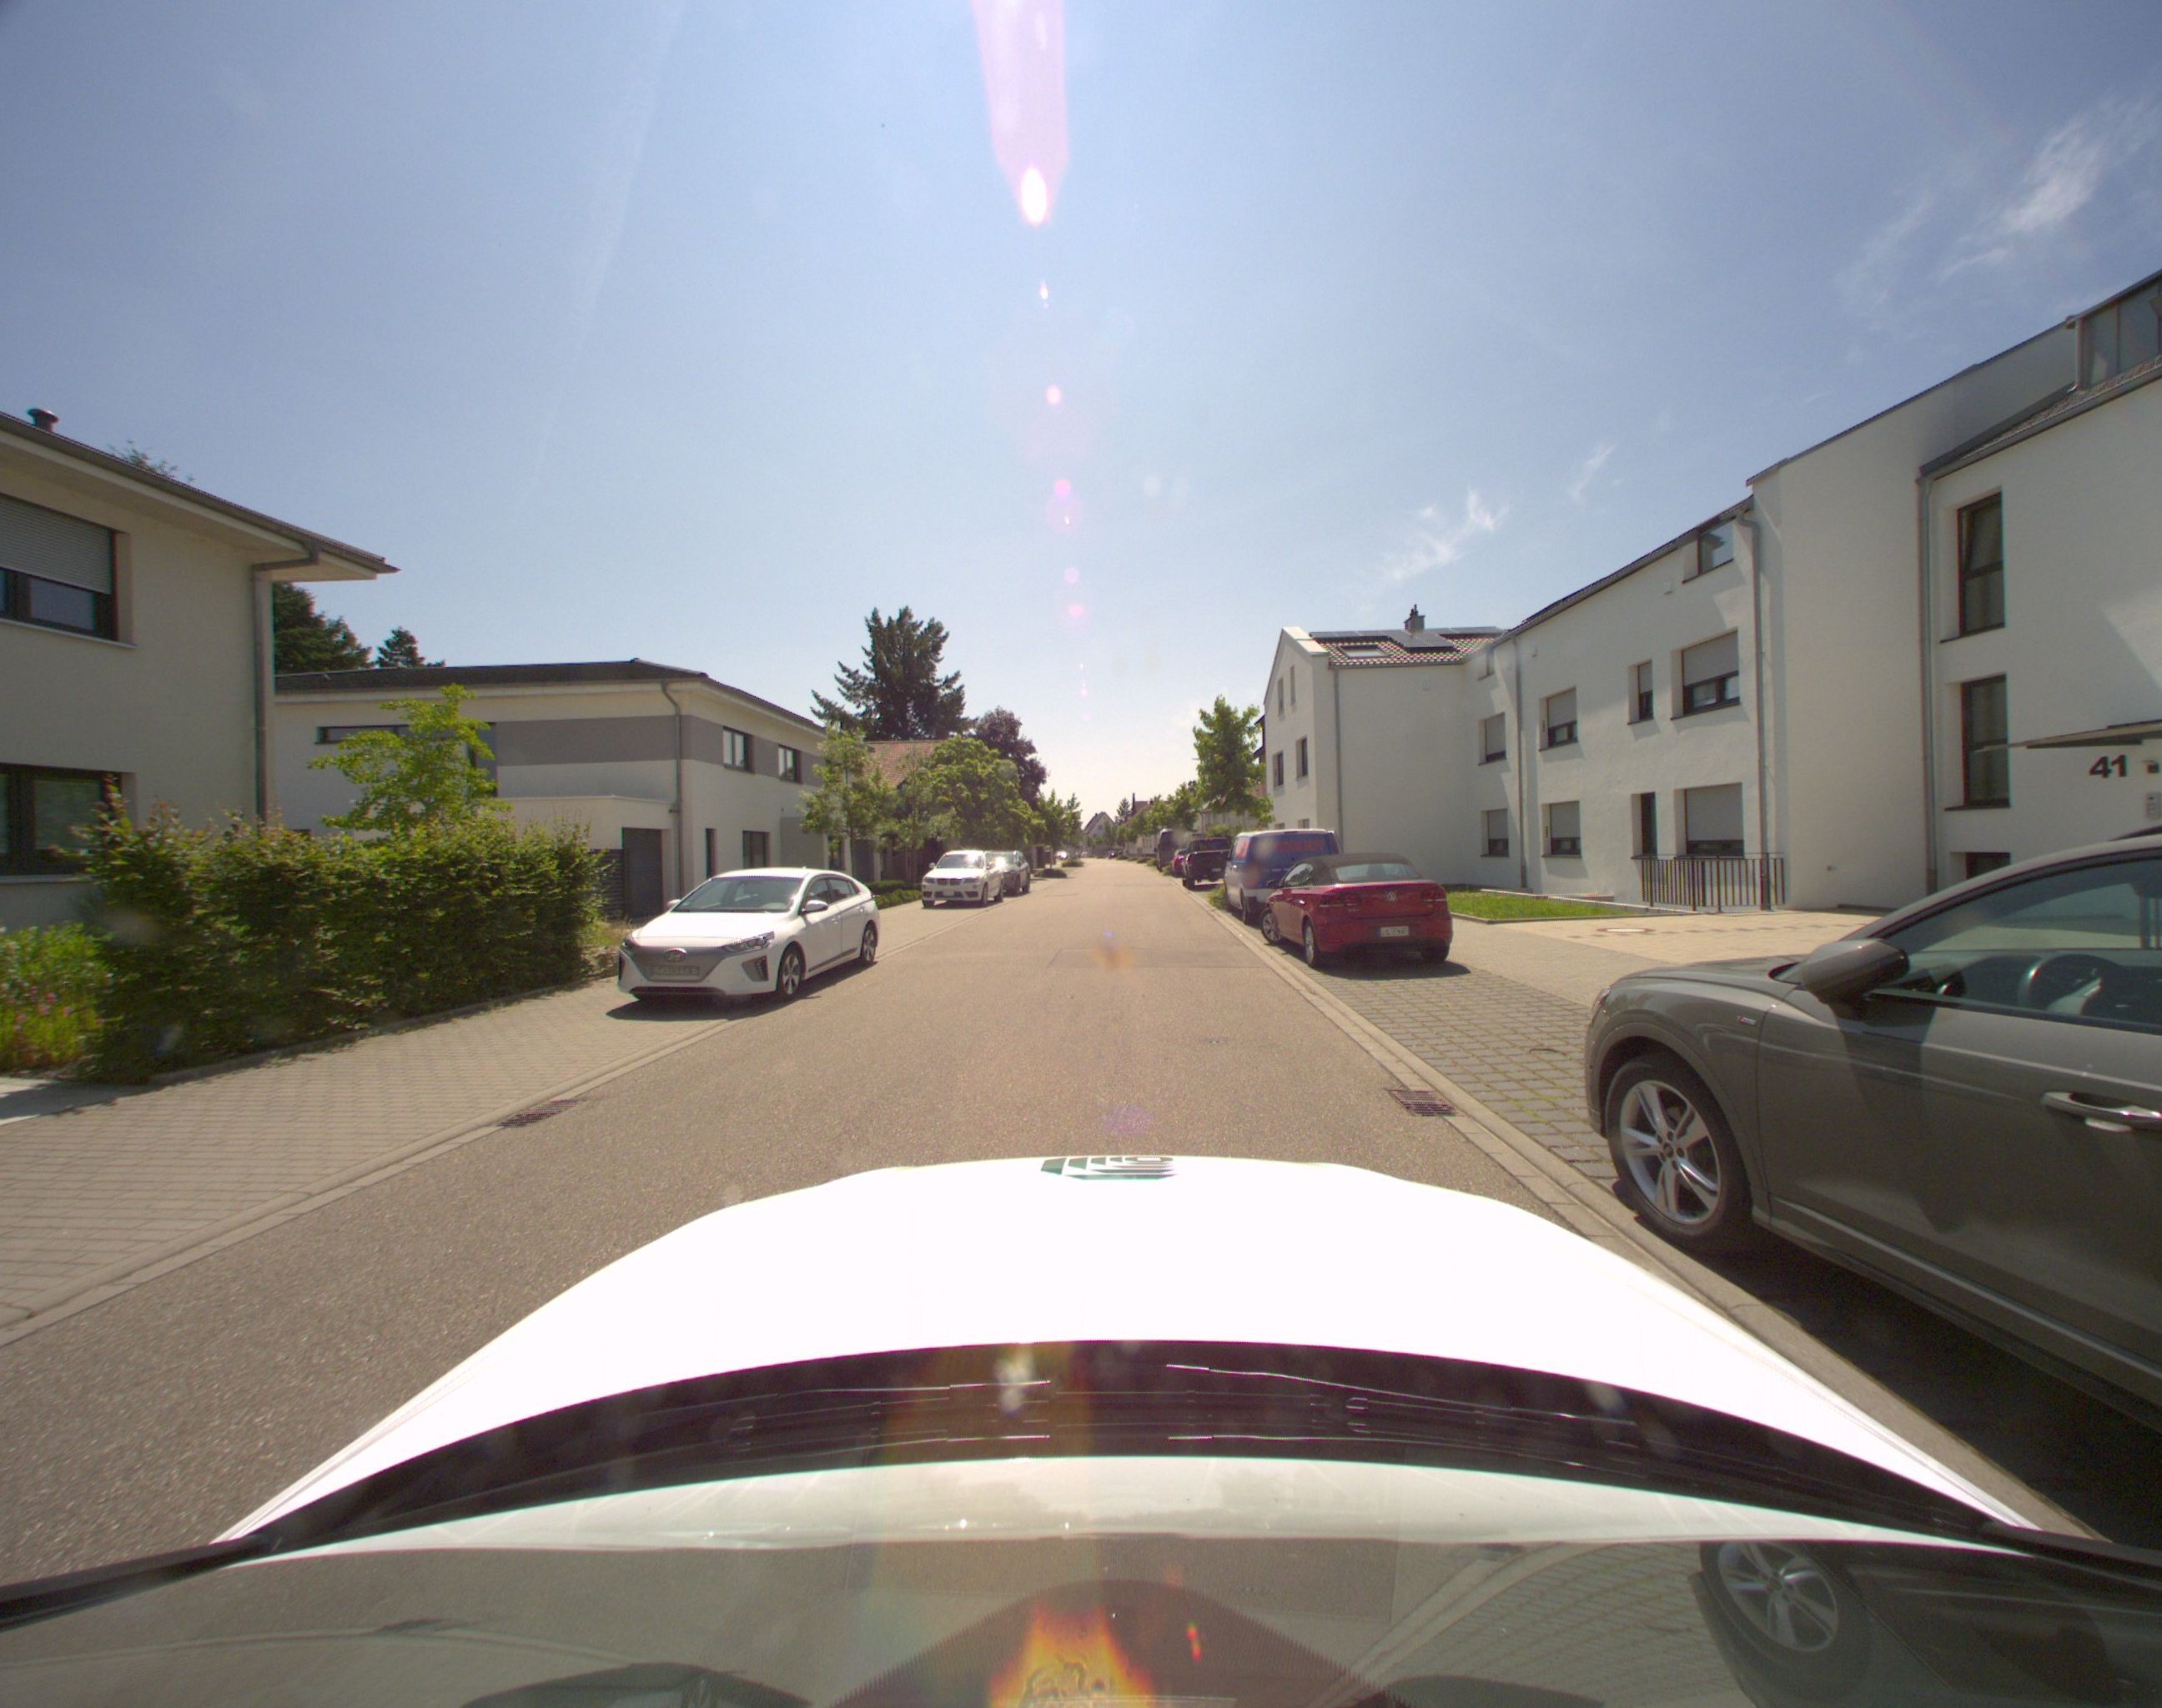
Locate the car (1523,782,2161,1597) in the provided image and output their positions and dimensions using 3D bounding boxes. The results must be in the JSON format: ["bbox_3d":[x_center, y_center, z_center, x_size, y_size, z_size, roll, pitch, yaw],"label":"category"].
[{"bbox_3d":[2.980,0.630,1.780,1.766,1.595,4.280,-2,0,1],"label":"car"}]

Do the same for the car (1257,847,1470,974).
[{"bbox_3d":[3.735,0.655,11.520,1.673,1.441,4.028,-2,0,1],"label":"car"}]

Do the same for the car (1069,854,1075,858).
[{"bbox_3d":[-2.467,0.630,222.124,1.187,1.070,3.047,-2,0,-5],"label":"car"}]

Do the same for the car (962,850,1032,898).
[{"bbox_3d":[-3.175,0.731,31.707,1.985,1.680,4.219,-1,0,4],"label":"car"}]

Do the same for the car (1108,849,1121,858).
[{"bbox_3d":[6.292,-0.102,151.665,1.990,1.574,3.994,-2,0,-4],"label":"car"}]

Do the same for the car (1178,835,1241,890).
[{"bbox_3d":[5.037,0.316,32.576,1.985,1.947,5.220,-3,0,4],"label":"car"}]

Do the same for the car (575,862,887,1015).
[{"bbox_3d":[-4.065,0.872,10.421,1.844,1.488,4.390,0,0,4],"label":"car"}]

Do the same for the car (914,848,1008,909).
[{"bbox_3d":[-3.619,0.687,25.419,1.918,1.687,4.503,-1,0,4],"label":"car"}]

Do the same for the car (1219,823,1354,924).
[{"bbox_3d":[4.355,0.370,18.070,2.089,1.882,4.849,-2,0,5],"label":"car"}]

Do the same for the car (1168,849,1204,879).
[{"bbox_3d":[5.953,0.543,46.492,1.664,1.595,3.557,-2,0,1],"label":"car"}]

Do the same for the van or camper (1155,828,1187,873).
[{"bbox_3d":[6.279,-0.248,57.236,1.985,2.941,4.004,-2,0,3],"label":"van or camper"}]
